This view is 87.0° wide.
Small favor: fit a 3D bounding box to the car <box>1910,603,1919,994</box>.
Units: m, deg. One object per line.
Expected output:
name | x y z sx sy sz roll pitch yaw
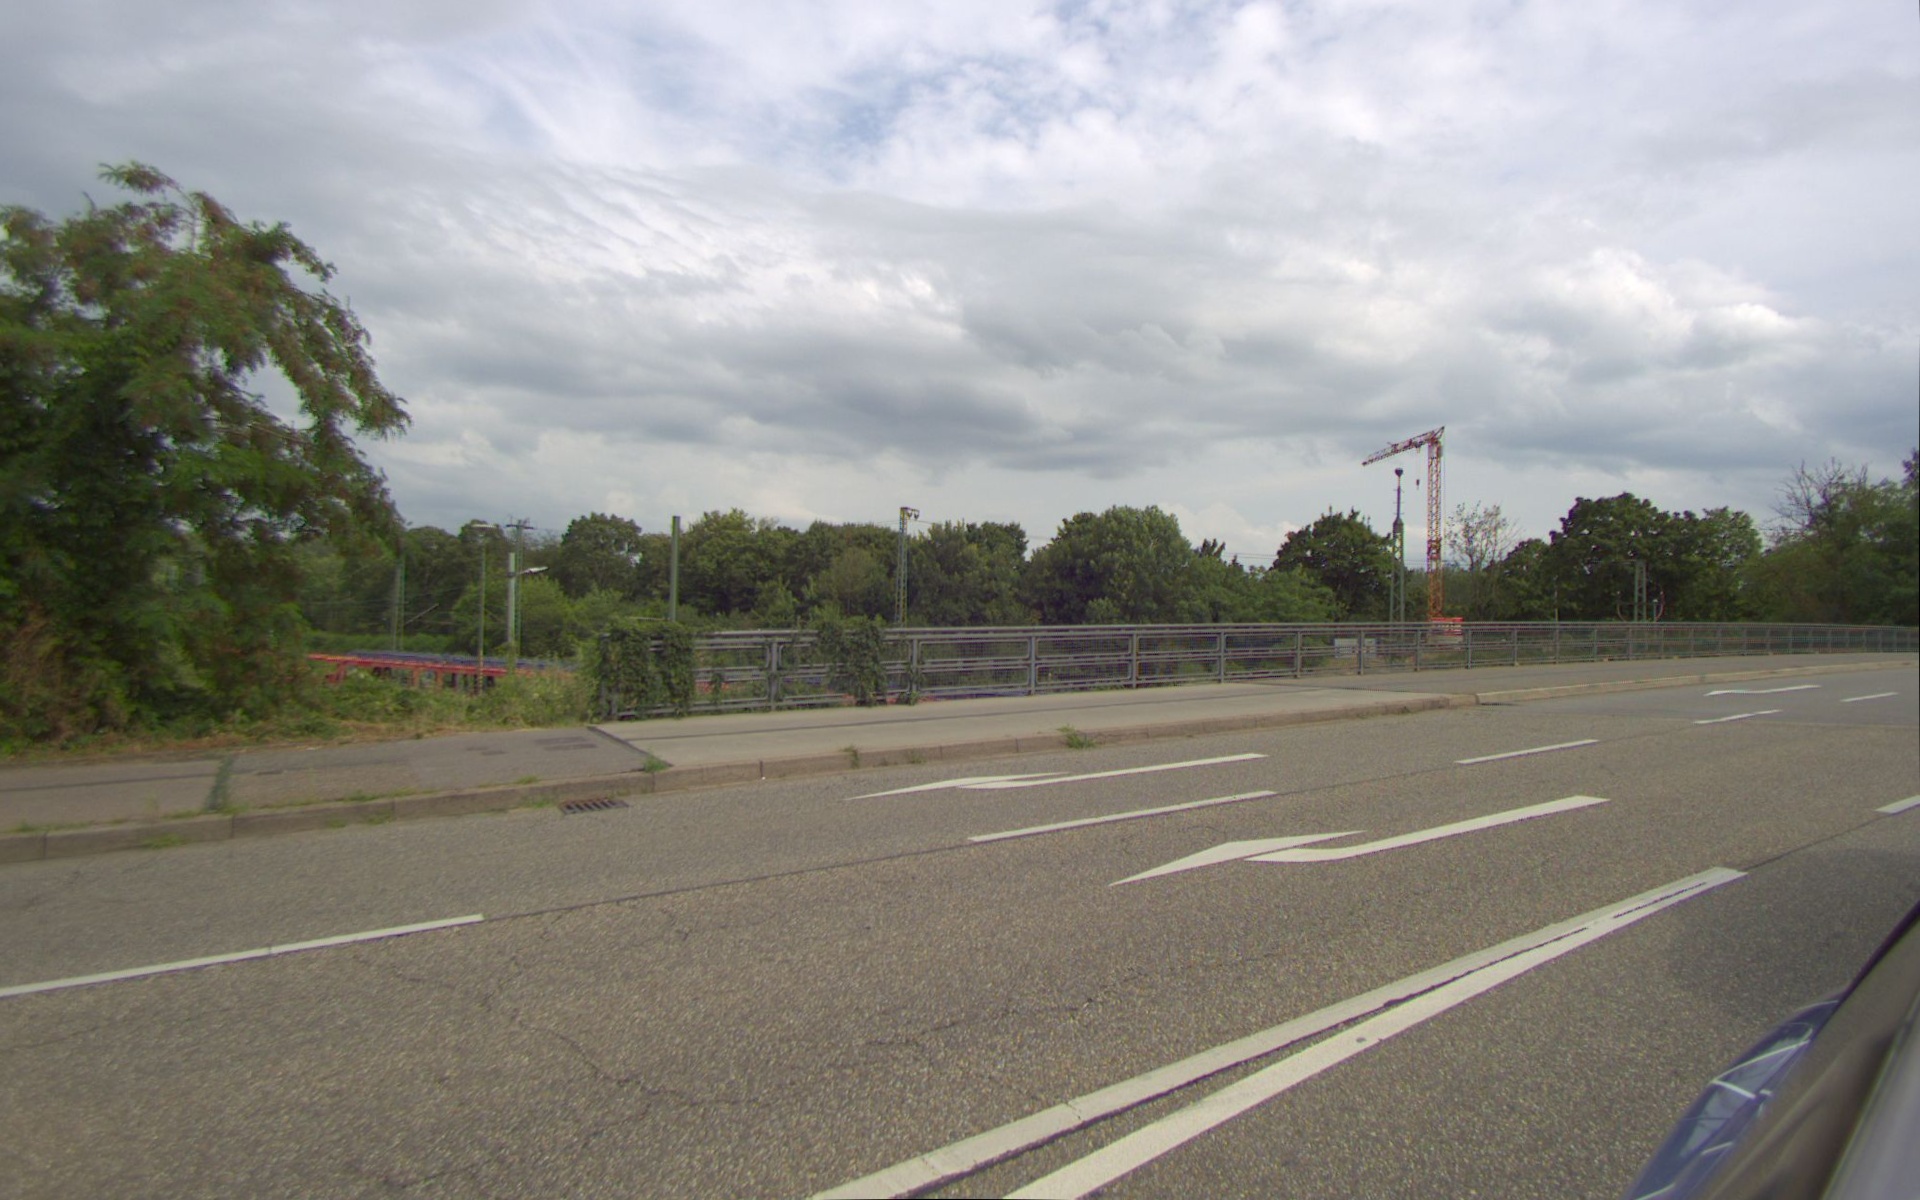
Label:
car | 5.803 0.698 4.159 4.639 1.381 1.854 0 0 -35
